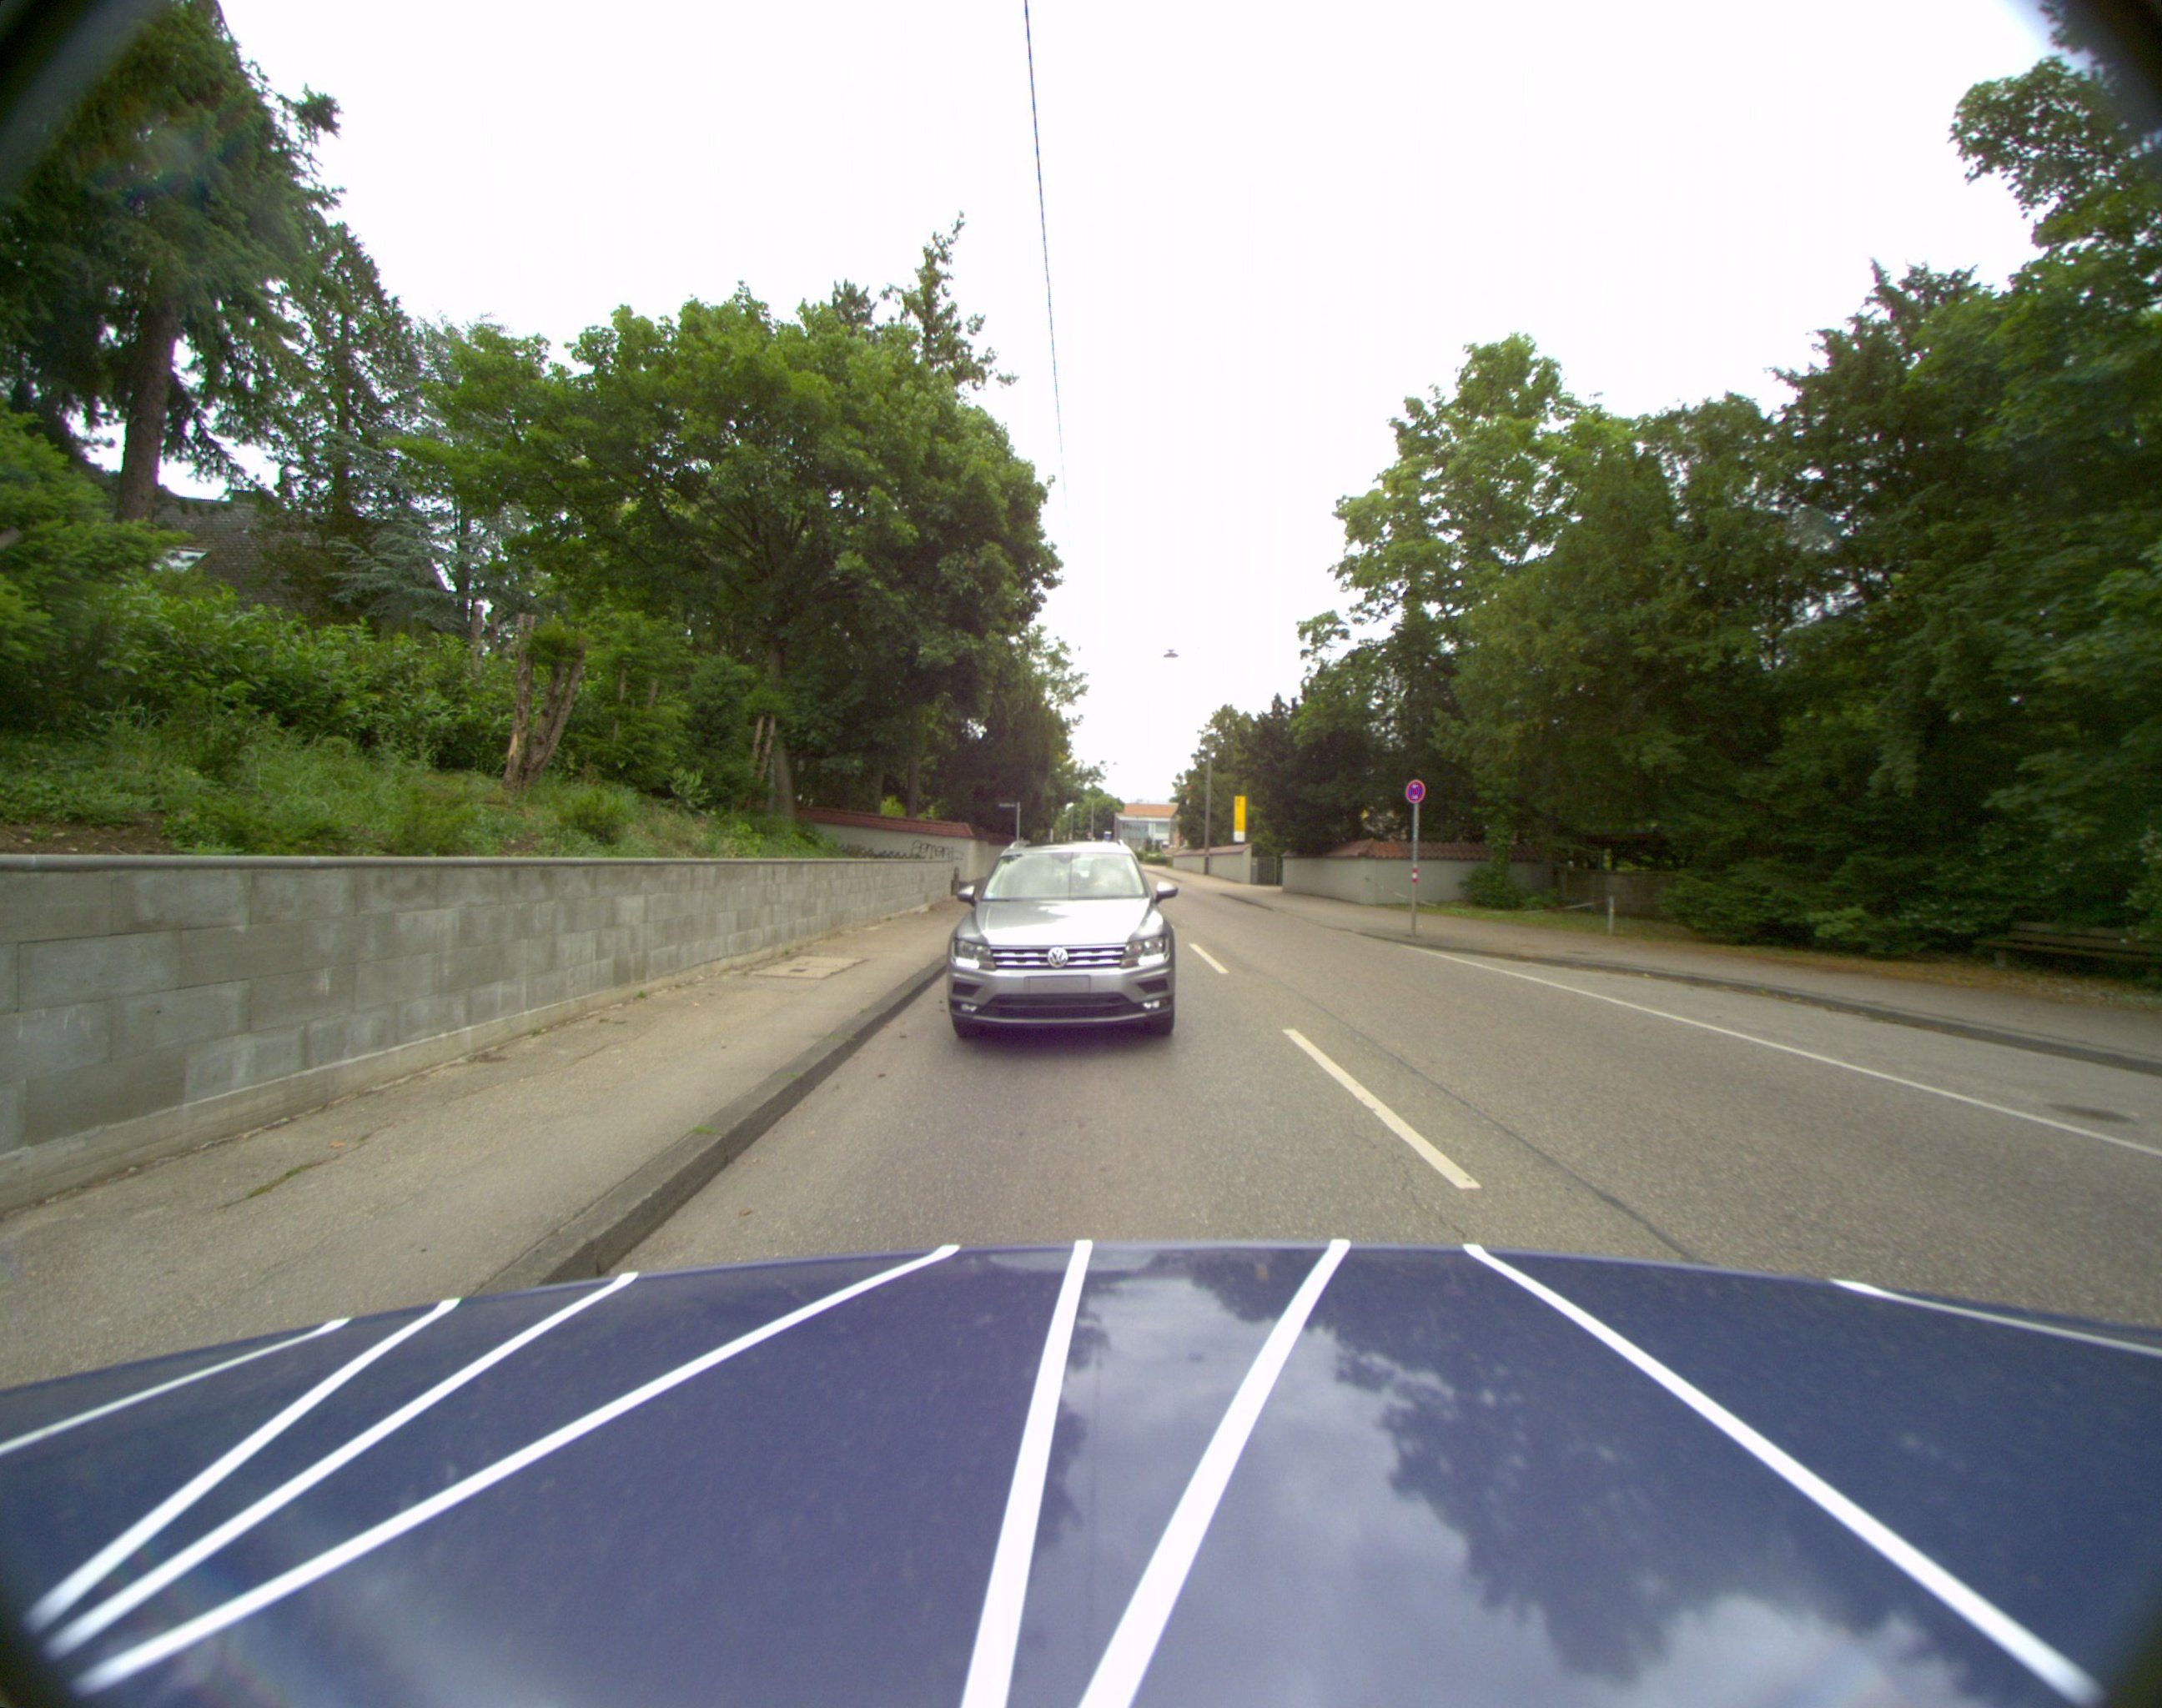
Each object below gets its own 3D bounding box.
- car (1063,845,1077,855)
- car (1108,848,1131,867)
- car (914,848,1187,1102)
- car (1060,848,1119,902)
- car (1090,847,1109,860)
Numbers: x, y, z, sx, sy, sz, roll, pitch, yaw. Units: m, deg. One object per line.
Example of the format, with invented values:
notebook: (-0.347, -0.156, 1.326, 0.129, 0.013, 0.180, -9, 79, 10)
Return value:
car: (-1.922, -0.666, 129.209, 1.878, 1.647, 4.251, 0, 1, -9)
car: (3.485, 0.266, 68.613, 1.877, 1.647, 4.255, 0, 1, 0)
car: (-0.194, 0.809, 7.515, 1.820, 1.690, 4.718, -1, 0, 0)
car: (0.278, 0.619, 25.590, 1.820, 1.647, 4.487, 0, 1, 0)
car: (2.350, -0.039, 98.621, 1.878, 1.647, 4.252, 0, 1, -8)
